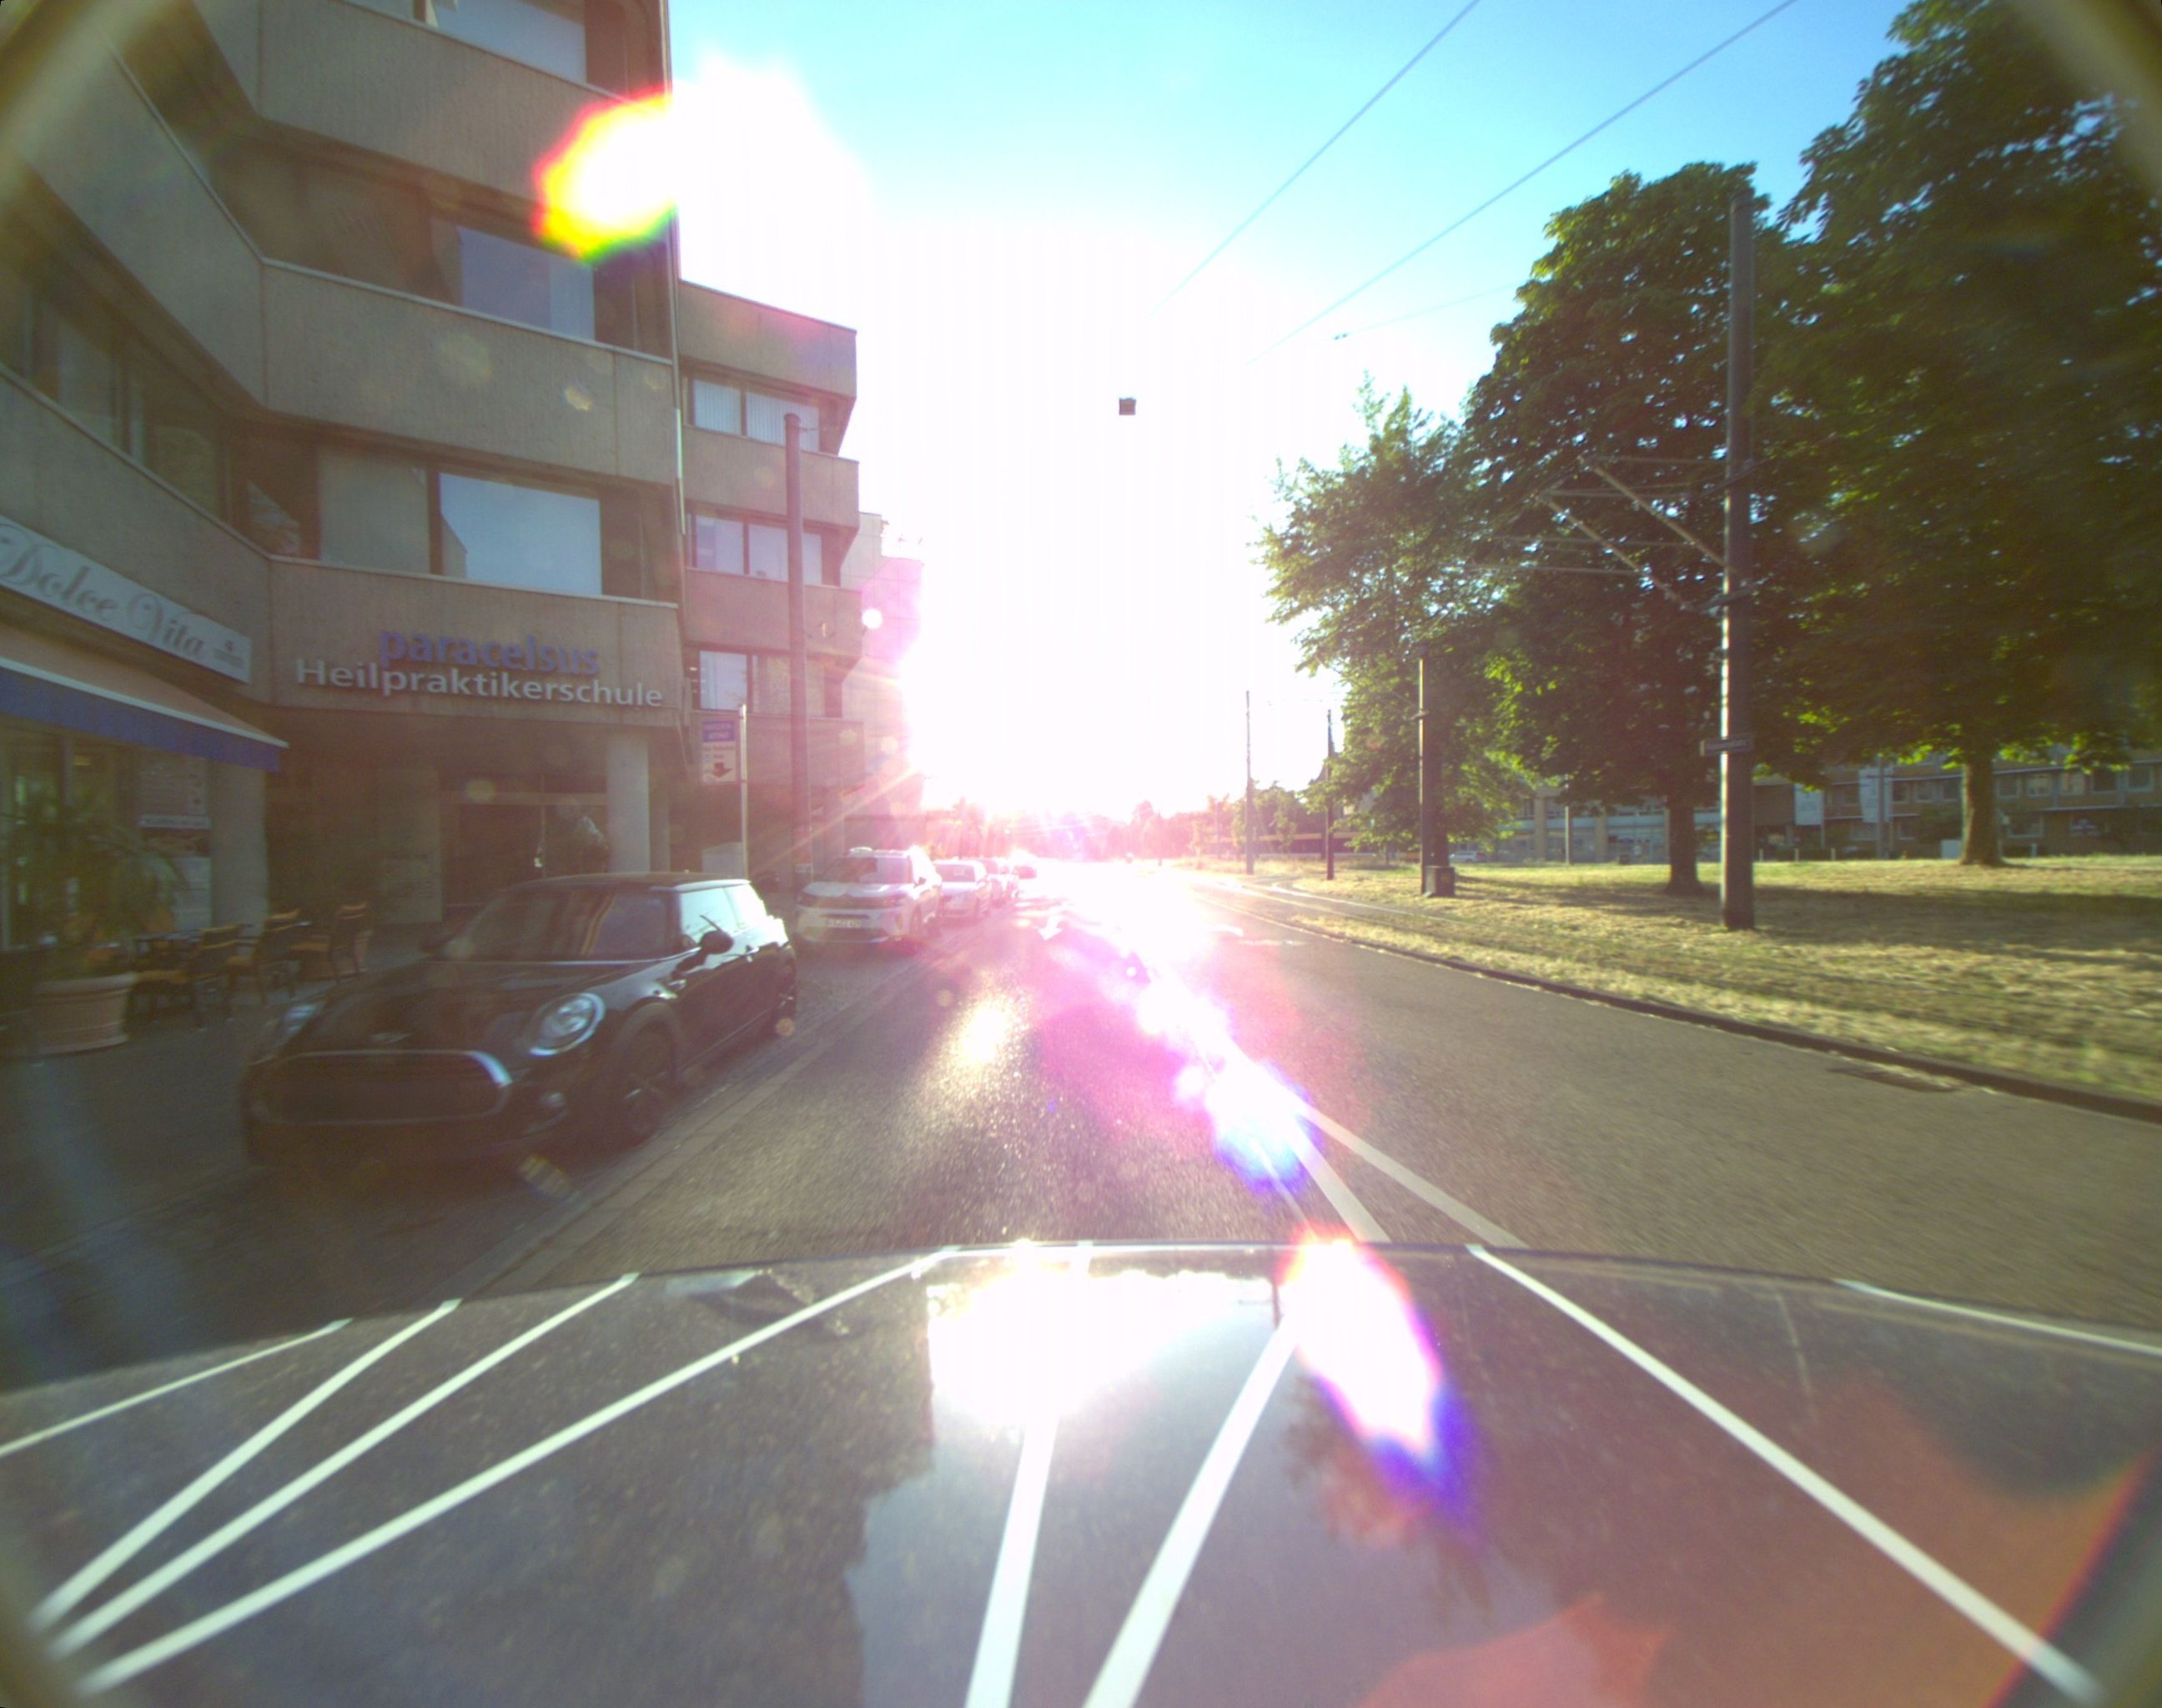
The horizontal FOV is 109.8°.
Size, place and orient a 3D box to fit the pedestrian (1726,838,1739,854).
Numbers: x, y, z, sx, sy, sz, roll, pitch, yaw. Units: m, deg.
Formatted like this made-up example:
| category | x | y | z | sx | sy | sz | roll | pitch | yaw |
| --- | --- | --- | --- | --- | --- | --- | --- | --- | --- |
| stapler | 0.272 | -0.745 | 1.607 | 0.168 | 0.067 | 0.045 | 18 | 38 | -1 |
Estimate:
| category | x | y | z | sx | sy | sz | roll | pitch | yaw |
| --- | --- | --- | --- | --- | --- | --- | --- | --- | --- |
| pedestrian | 53.602 | -0.657 | 62.518 | 0.568 | 1.316 | 0.682 | -3 | 1 | -32 |

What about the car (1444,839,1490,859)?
| category | x | y | z | sx | sy | sz | roll | pitch | yaw |
| --- | --- | --- | --- | --- | --- | --- | --- | --- | --- |
| car | 41.128 | -0.528 | 80.974 | 1.858 | 2.002 | 3.902 | -2 | 0 | -30 |

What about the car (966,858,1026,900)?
| category | x | y | z | sx | sy | sz | roll | pitch | yaw |
| --- | --- | --- | --- | --- | --- | --- | --- | --- | --- |
| car | -3.269 | 0.937 | 29.861 | 1.789 | 1.448 | 4.000 | -1 | 1 | 1 |

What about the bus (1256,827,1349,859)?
| category | x | y | z | sx | sy | sz | roll | pitch | yaw |
| --- | --- | --- | --- | --- | --- | --- | --- | --- | --- |
| bus | 24.741 | -1.147 | 85.632 | 3.765 | 3.312 | 10.715 | -2 | 0 | -25 |

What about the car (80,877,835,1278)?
| category | x | y | z | sx | sy | sz | roll | pitch | yaw |
| --- | --- | --- | --- | --- | --- | --- | --- | --- | --- |
| car | -3.255 | 1.006 | 5.155 | 1.794 | 1.499 | 3.920 | -2 | 0 | 1 |

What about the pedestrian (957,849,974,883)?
| category | x | y | z | sx | sy | sz | roll | pitch | yaw |
| --- | --- | --- | --- | --- | --- | --- | --- | --- | --- |
| pedestrian | -6.255 | 0.653 | 41.242 | 0.641 | 1.775 | 0.855 | -2 | 1 | -24 |

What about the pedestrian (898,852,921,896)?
| category | x | y | z | sx | sy | sz | roll | pitch | yaw |
| --- | --- | --- | --- | --- | --- | --- | --- | --- | --- |
| pedestrian | -6.579 | 0.766 | 29.075 | 0.641 | 1.618 | 0.855 | -2 | 1 | -24 |

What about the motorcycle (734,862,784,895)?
| category | x | y | z | sx | sy | sz | roll | pitch | yaw |
| --- | --- | --- | --- | --- | --- | --- | --- | --- | --- |
| motorcycle | -13.058 | 0.979 | 30.806 | 1.793 | 1.285 | 0.670 | 0 | 0 | 15 |

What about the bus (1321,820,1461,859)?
| category | x | y | z | sx | sy | sz | roll | pitch | yaw |
| --- | --- | --- | --- | --- | --- | --- | --- | --- | --- |
| bus | 29.940 | -1.297 | 74.585 | 3.765 | 3.343 | 13.686 | -2 | 0 | -25 |

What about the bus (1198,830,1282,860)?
| category | x | y | z | sx | sy | sz | roll | pitch | yaw |
| --- | --- | --- | --- | --- | --- | --- | --- | --- | --- |
| bus | 19.883 | -1.039 | 95.983 | 3.765 | 3.435 | 12.108 | -2 | 0 | -25 |

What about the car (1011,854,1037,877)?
| category | x | y | z | sx | sy | sz | roll | pitch | yaw |
| --- | --- | --- | --- | --- | --- | --- | --- | --- | --- |
| car | -4.091 | 0.826 | 55.078 | 1.655 | 1.525 | 4.065 | -2 | 0 | -2 |

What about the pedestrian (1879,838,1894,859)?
| category | x | y | z | sx | sy | sz | roll | pitch | yaw |
| --- | --- | --- | --- | --- | --- | --- | --- | --- | --- |
| pedestrian | 58.717 | -0.418 | 55.387 | 0.567 | 1.530 | 0.575 | -3 | 1 | -27 |

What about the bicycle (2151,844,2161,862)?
| category | x | y | z | sx | sy | sz | roll | pitch | yaw |
| --- | --- | --- | --- | --- | --- | --- | --- | --- | --- |
| bicycle | 62.740 | -0.101 | 43.183 | 2.195 | 1.005 | 0.473 | -2 | 1 | 43 |

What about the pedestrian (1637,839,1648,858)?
| category | x | y | z | sx | sy | sz | roll | pitch | yaw |
| --- | --- | --- | --- | --- | --- | --- | --- | --- | --- |
| pedestrian | 50.712 | -0.491 | 68.607 | 0.532 | 1.683 | 0.617 | -2 | 1 | -18 |

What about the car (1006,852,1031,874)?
| category | x | y | z | sx | sy | sz | roll | pitch | yaw |
| --- | --- | --- | --- | --- | --- | --- | --- | --- | --- |
| car | -4.945 | 0.695 | 60.263 | 1.809 | 1.660 | 4.811 | -2 | 0 | -4 |

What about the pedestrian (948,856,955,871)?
| category | x | y | z | sx | sy | sz | roll | pitch | yaw |
| --- | --- | --- | --- | --- | --- | --- | --- | --- | --- |
| pedestrian | -14.261 | 1.058 | 83.639 | 0.519 | 1.683 | 0.771 | -3 | 1 | -20 |

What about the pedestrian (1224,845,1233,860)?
| category | x | y | z | sx | sy | sz | roll | pitch | yaw |
| --- | --- | --- | --- | --- | --- | --- | --- | --- | --- |
| pedestrian | 14.802 | -0.173 | 76.215 | 0.672 | 1.450 | 0.699 | -2 | 1 | -4 |

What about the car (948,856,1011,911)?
| category | x | y | z | sx | sy | sz | roll | pitch | yaw |
| --- | --- | --- | --- | --- | --- | --- | --- | --- | --- |
| car | -3.238 | 0.908 | 24.835 | 1.589 | 1.581 | 3.667 | -2 | 0 | -2 |

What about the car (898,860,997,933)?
| category | x | y | z | sx | sy | sz | roll | pitch | yaw |
| --- | --- | --- | --- | --- | --- | --- | --- | --- | --- |
| car | -3.136 | 0.945 | 18.632 | 1.645 | 1.519 | 4.000 | -2 | 0 | 0 |

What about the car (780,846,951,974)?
| category | x | y | z | sx | sy | sz | roll | pitch | yaw |
| --- | --- | --- | --- | --- | --- | --- | --- | --- | --- |
| car | -3.494 | 0.810 | 13.208 | 1.788 | 1.794 | 4.400 | -2 | 0 | -2 |
